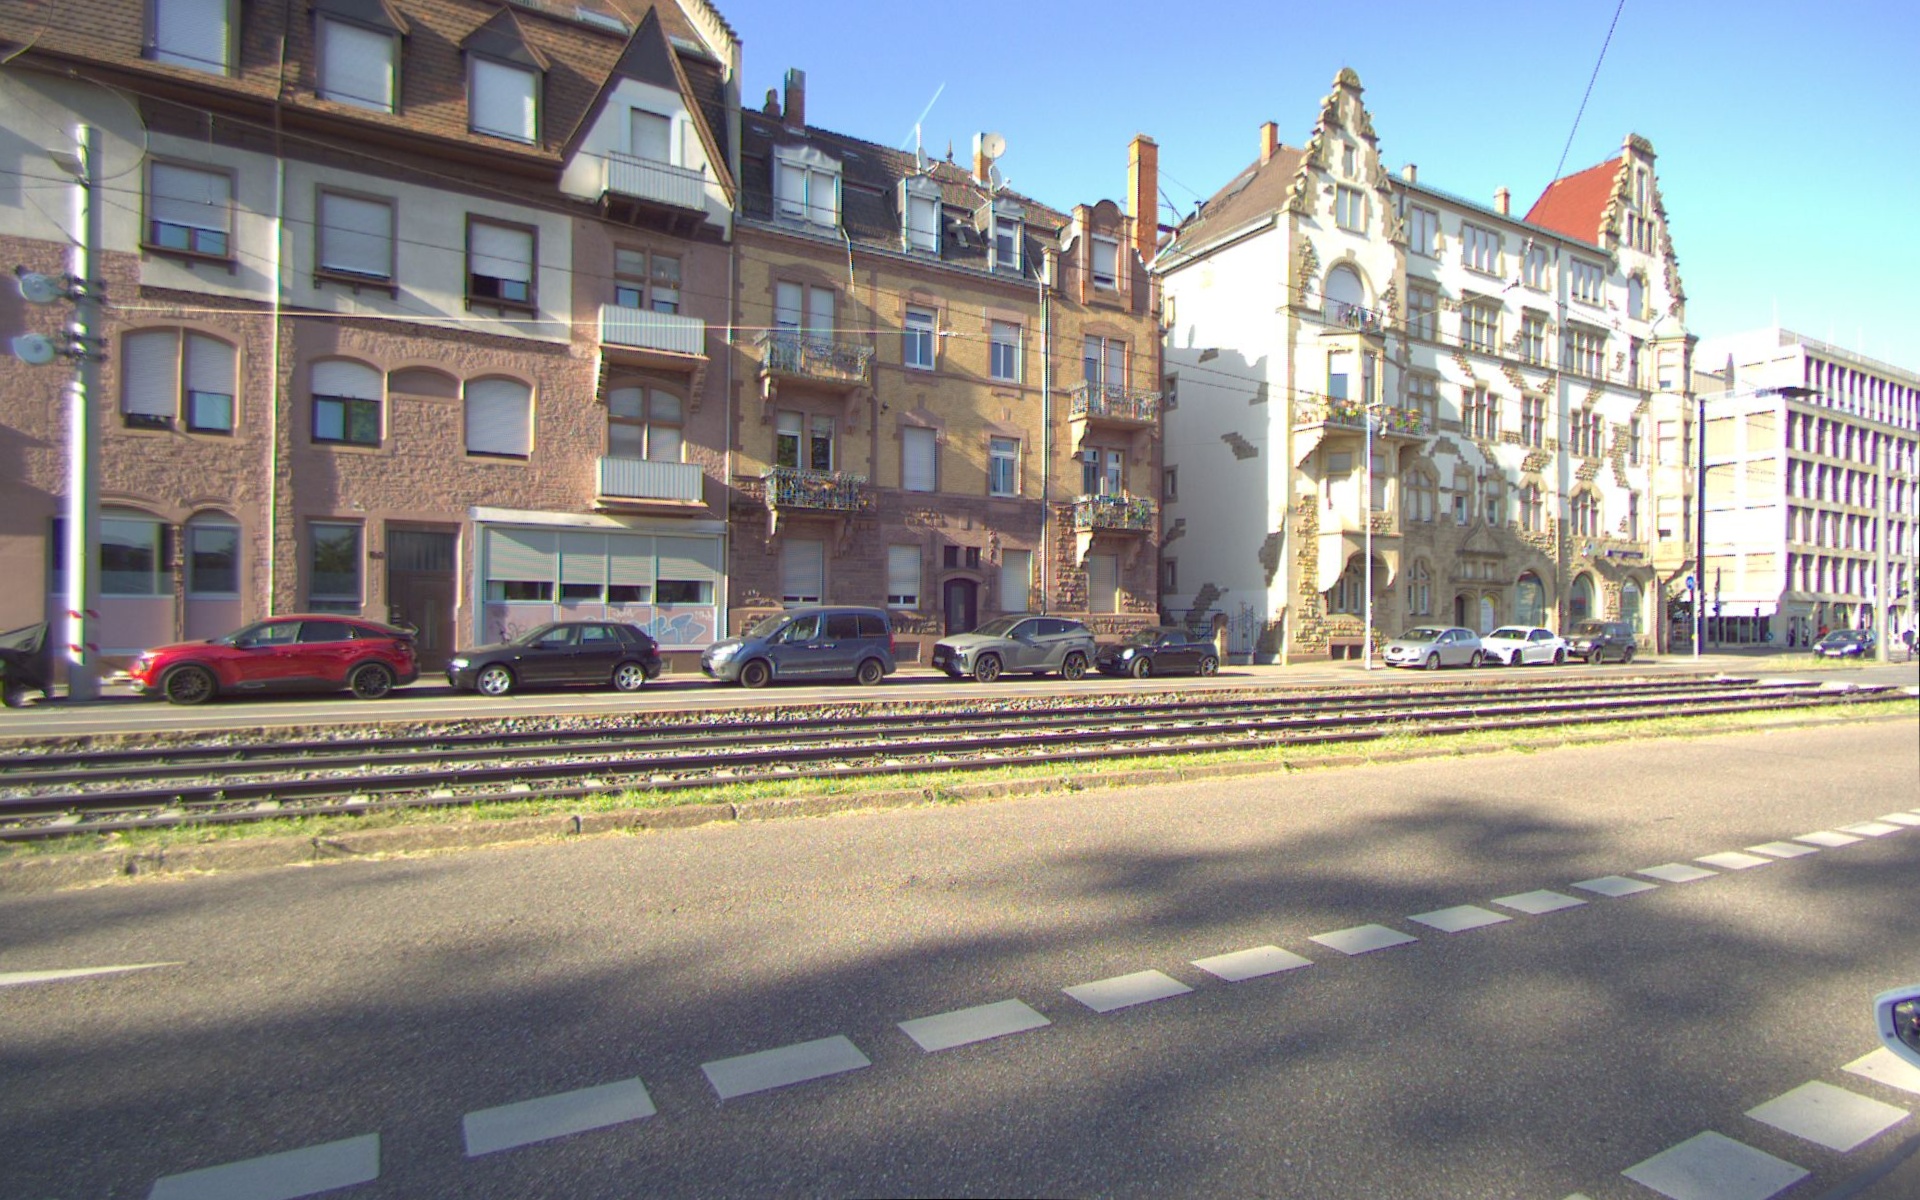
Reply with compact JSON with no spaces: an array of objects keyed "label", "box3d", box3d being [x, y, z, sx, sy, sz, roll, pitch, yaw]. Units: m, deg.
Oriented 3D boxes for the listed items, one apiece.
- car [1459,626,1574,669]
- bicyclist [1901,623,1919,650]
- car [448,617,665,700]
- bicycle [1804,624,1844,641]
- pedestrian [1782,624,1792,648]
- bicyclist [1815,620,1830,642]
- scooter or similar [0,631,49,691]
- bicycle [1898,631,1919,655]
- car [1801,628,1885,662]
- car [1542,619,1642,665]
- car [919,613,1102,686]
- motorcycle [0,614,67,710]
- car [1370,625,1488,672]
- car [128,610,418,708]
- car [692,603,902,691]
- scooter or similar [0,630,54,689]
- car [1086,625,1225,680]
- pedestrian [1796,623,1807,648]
[{"label":"car","box3d":[20.890,1.730,37.663,4.603,1.442,1.708,1,1,-32]},{"label":"bicyclist","box3d":[56.578,2.170,59.717,0.775,1.583,0.682,1,-1,-28]},{"label":"car","box3d":[-8.148,1.122,20.369,3.882,1.457,1.686,1,2,-31]},{"label":"bicycle","box3d":[66.249,2.482,77.059,2.340,1.231,0.578,0,-1,9]},{"label":"pedestrian","box3d":[63.050,2.757,76.599,0.464,1.868,0.443,0,-1,23]},{"label":"bicyclist","box3d":[66.166,2.359,77.062,0.630,1.708,0.578,0,-1,9]},{"label":"scooter or similar","box3d":[-17.584,1.124,18.539,1.108,1.083,0.203,1,0,-30]},{"label":"bicycle","box3d":[56.656,2.557,59.750,1.923,1.400,0.682,1,-2,-29]},{"label":"car","box3d":[39.848,1.993,45.304,4.121,1.476,1.810,1,-2,-33]},{"label":"car","box3d":[25.410,1.639,40.379,4.169,1.698,1.708,1,1,-32]},{"label":"car","box3d":[1.334,1.224,25.941,4.450,1.644,1.846,1,2,-31]},{"label":"motorcycle","box3d":[-15.441,0.979,16.587,0.621,1.441,1.847,0,1,-29]},{"label":"car","box3d":[16.209,1.629,34.657,4.176,1.450,1.700,1,1,-32]},{"label":"car","box3d":[-12.272,1.009,18.297,4.162,1.519,1.846,1,2,-31]},{"label":"car","box3d":[-3.720,1.033,22.976,4.361,1.782,1.878,1,2,-28]},{"label":"scooter or similar","box3d":[-17.715,1.114,18.787,1.108,1.083,0.203,1,0,-30]},{"label":"car","box3d":[5.519,1.445,28.271,3.683,1.373,1.614,1,2,-31]},{"label":"pedestrian","box3d":[63.712,2.714,76.084,0.522,1.868,0.443,0,-1,23]}]
